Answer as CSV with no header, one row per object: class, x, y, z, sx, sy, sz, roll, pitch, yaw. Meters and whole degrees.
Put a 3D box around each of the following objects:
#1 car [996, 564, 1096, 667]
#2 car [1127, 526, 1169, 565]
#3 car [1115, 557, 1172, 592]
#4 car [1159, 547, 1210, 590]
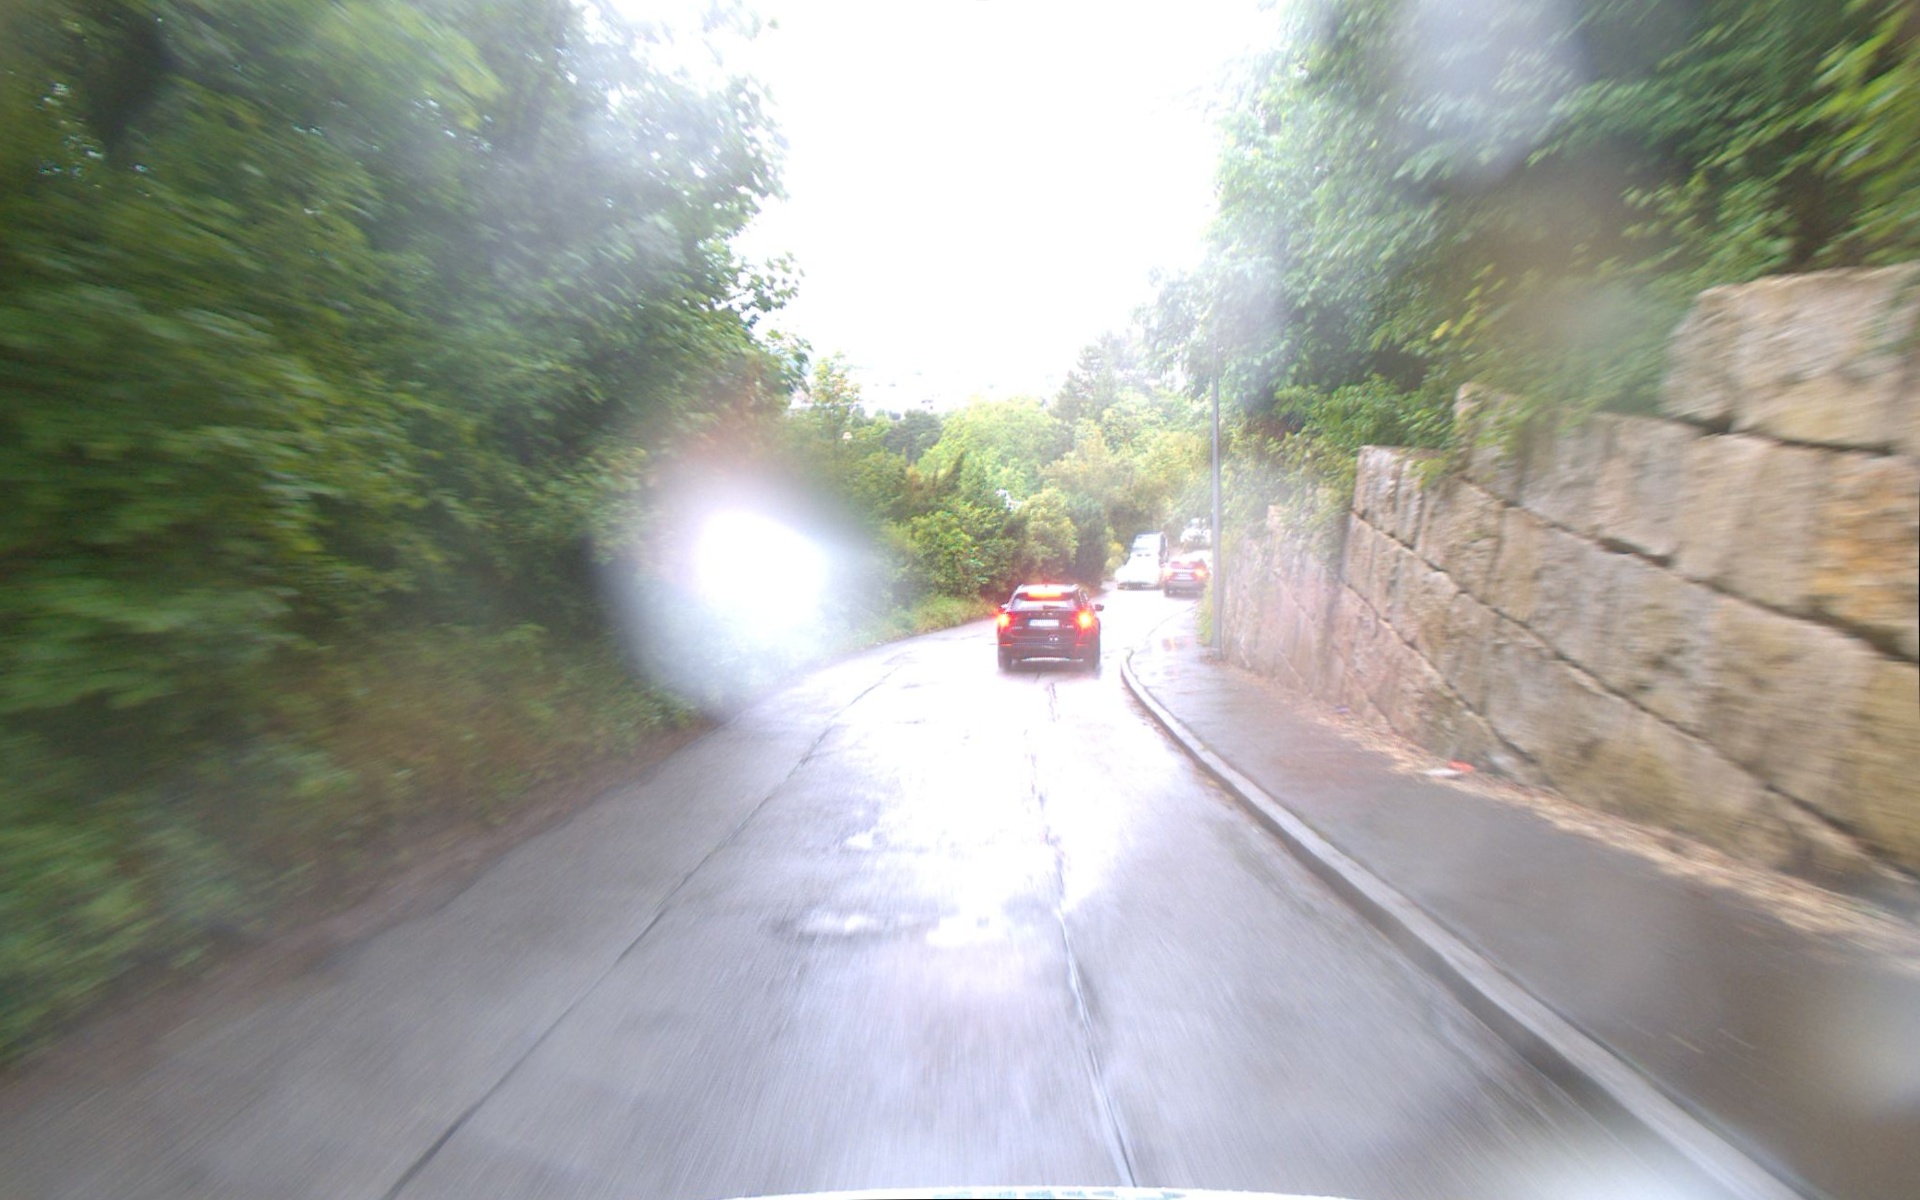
car,1.595,0.217,30.009,1.664,1.475,4.005,-1,5,4
car,10.173,-2.957,89.294,1.653,1.813,4.239,0,5,14
car,8.442,-1.157,75.940,1.900,1.548,4.583,1,1,15
car,9.617,-1.323,70.609,1.823,1.773,4.004,1,1,12
